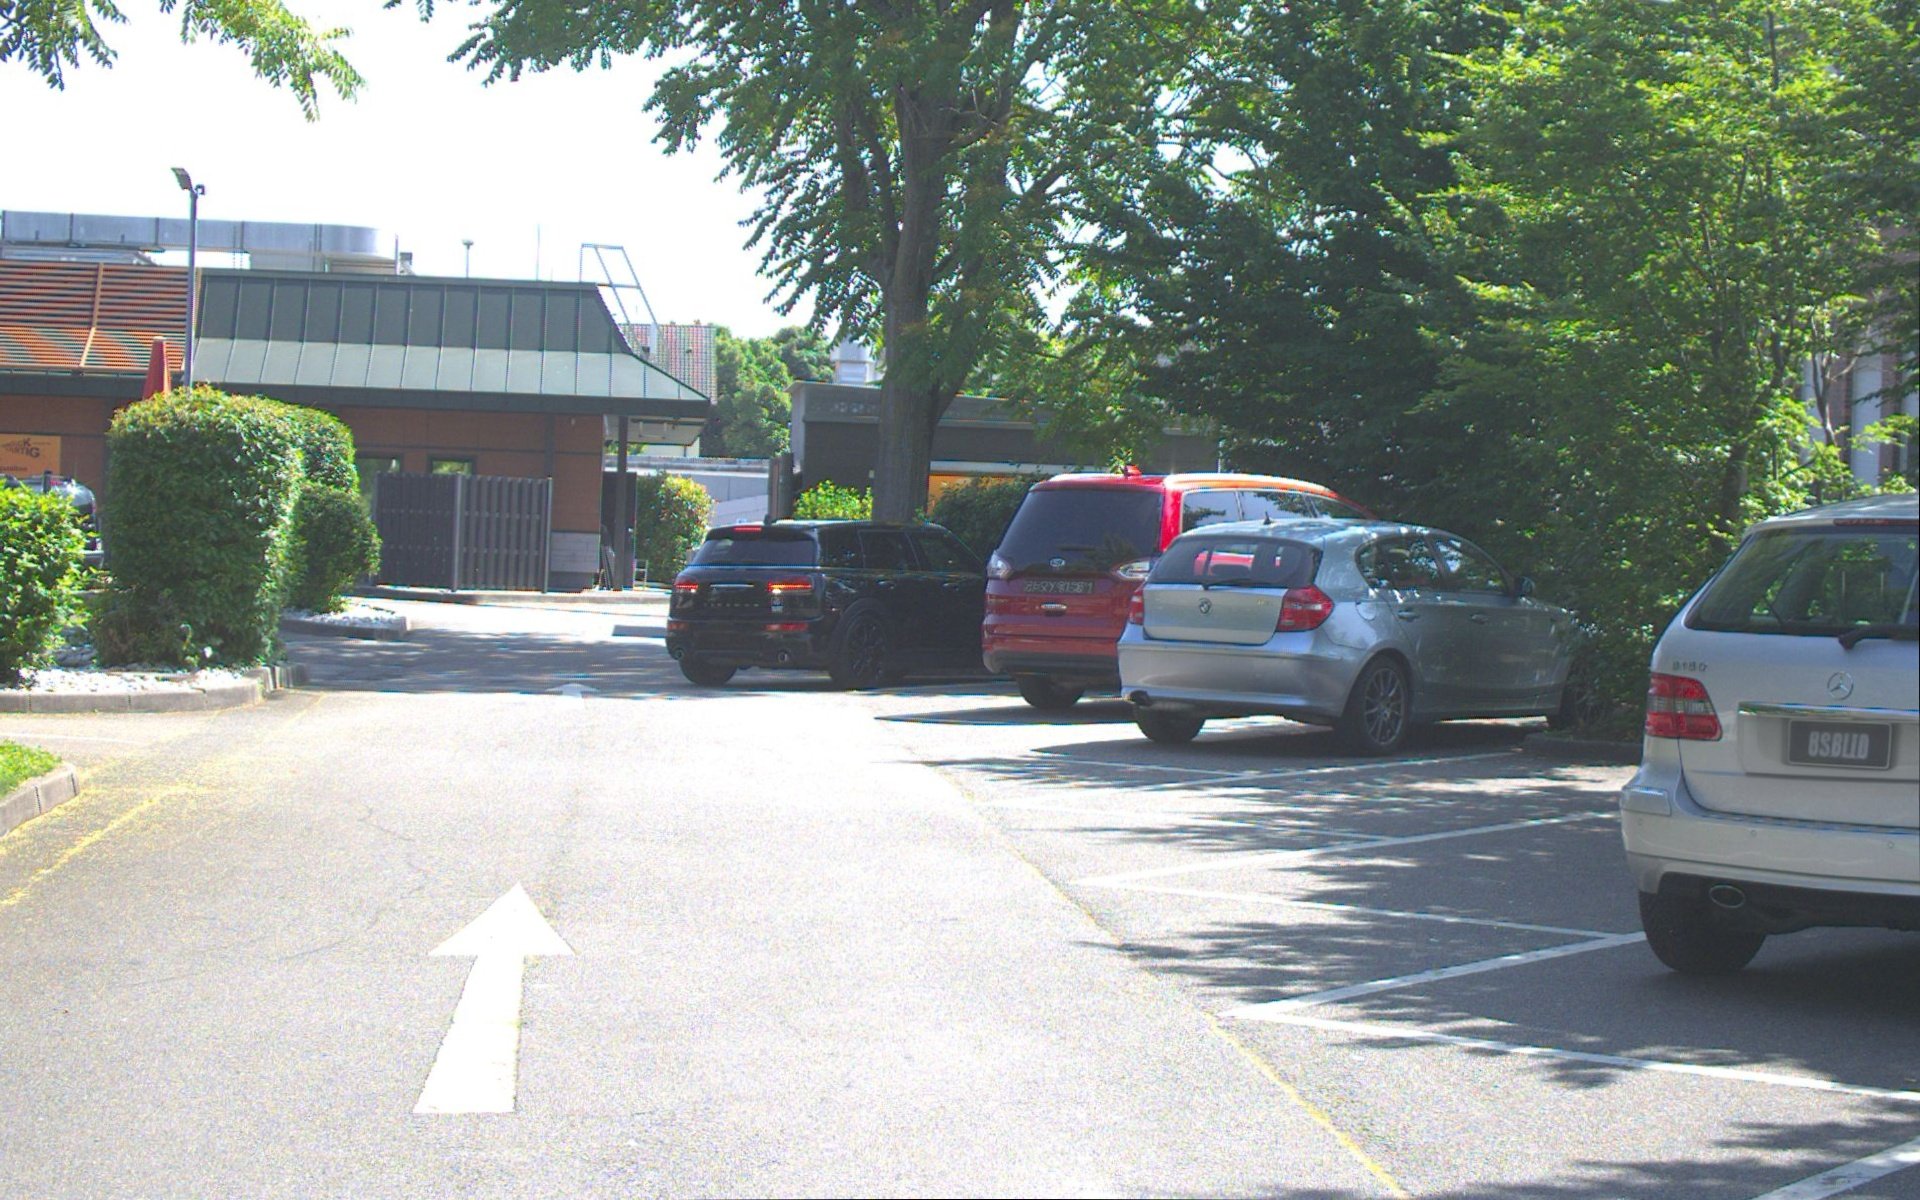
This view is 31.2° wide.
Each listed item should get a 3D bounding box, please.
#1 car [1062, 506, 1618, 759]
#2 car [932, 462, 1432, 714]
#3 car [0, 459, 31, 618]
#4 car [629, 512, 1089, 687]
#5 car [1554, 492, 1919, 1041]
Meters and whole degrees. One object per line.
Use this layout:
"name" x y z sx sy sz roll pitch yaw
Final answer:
"car" 2.544 0.156 22.250 1.772 1.470 3.991 2 2 37
"car" 1.733 -0.111 25.690 1.772 1.728 3.991 0 1 38
"car" -12.207 -0.737 37.606 4.364 1.680 1.858 4 4 41
"car" -0.807 -0.006 29.659 1.772 1.384 3.991 2 1 39
"car" 3.912 0.461 11.565 1.773 1.566 3.989 3 2 45
